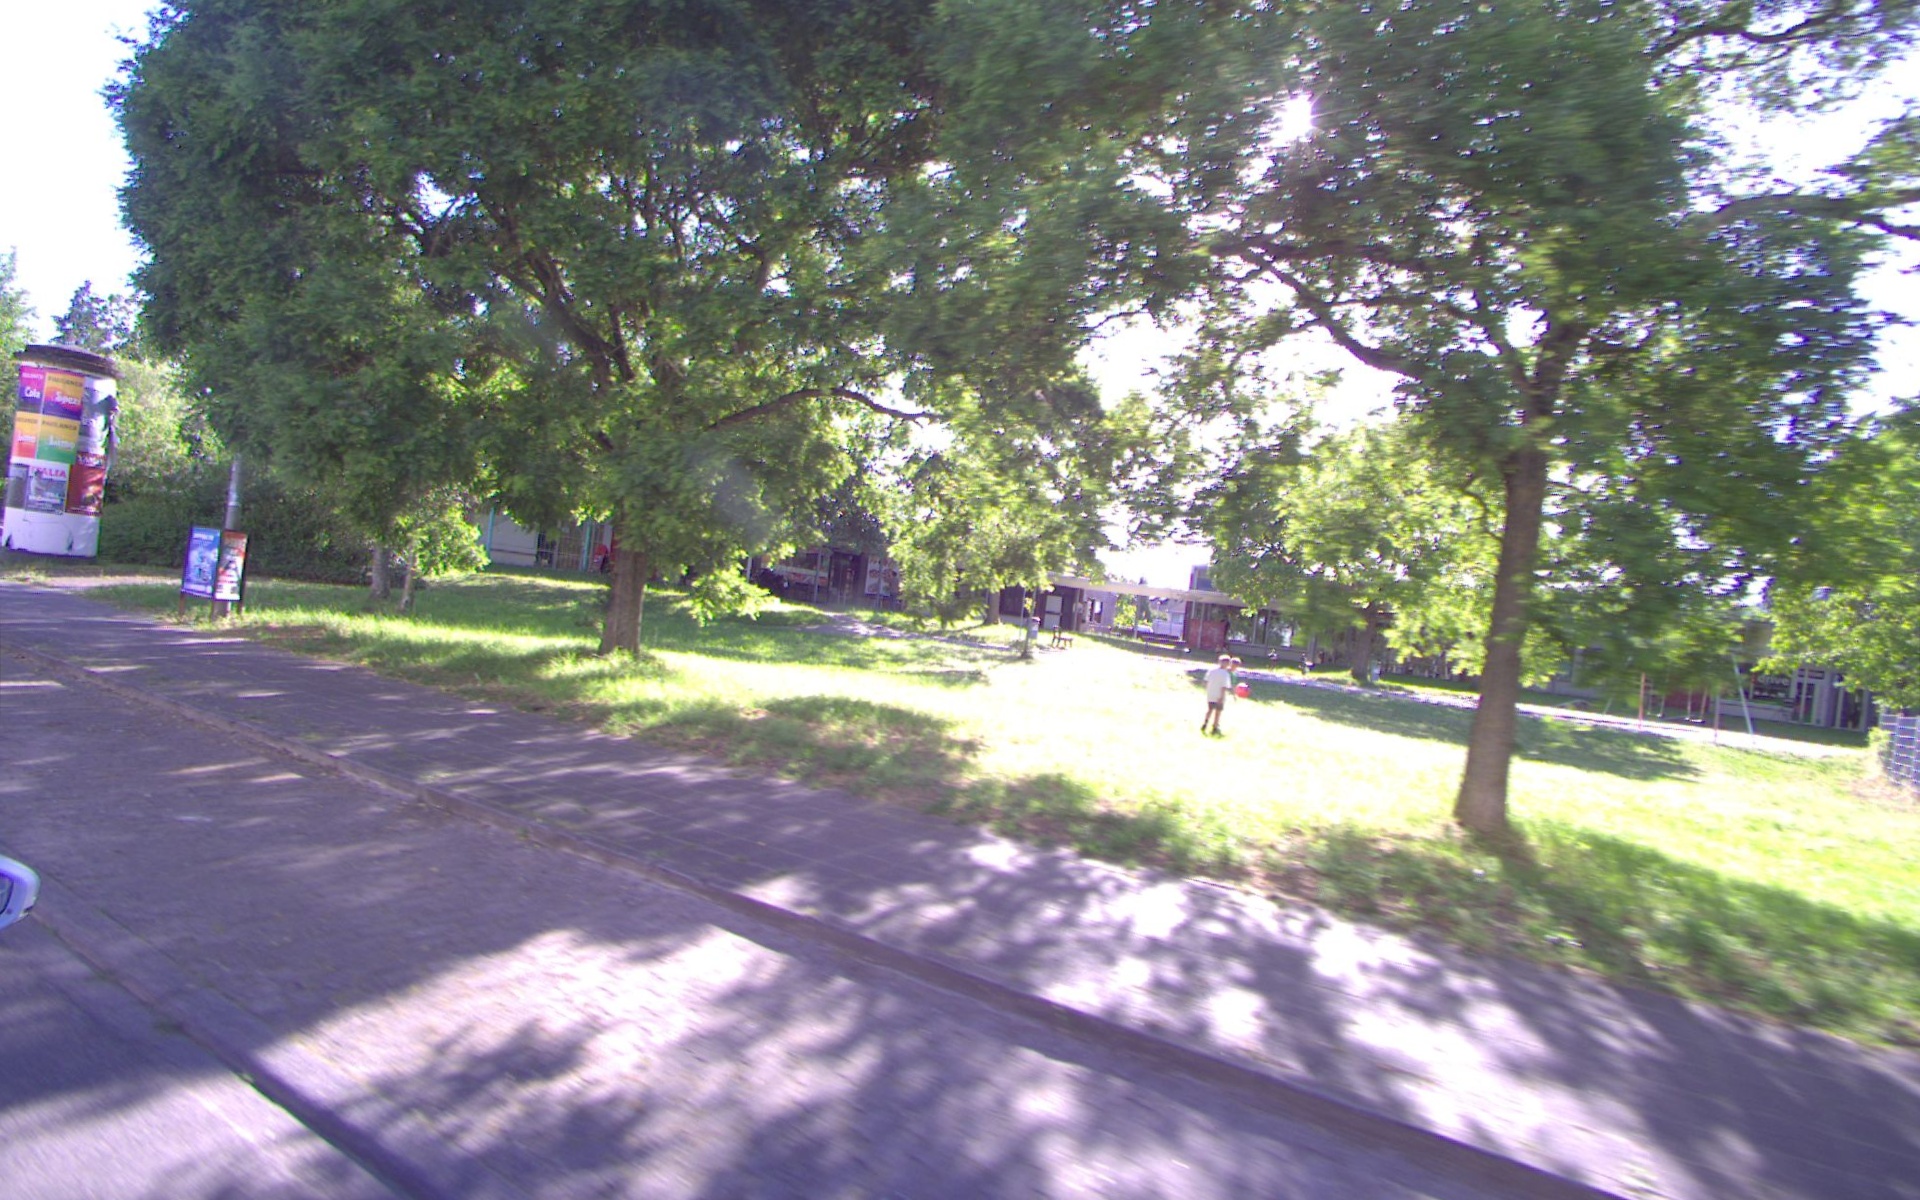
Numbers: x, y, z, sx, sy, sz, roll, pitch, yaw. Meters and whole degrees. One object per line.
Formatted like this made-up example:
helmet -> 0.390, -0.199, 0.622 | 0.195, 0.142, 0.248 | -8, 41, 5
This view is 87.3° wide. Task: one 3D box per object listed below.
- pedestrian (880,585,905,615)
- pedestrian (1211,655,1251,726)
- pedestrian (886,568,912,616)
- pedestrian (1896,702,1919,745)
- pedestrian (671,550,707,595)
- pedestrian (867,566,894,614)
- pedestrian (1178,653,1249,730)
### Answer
pedestrian -> -3.191, 0.002, 47.534 | 0.830, 1.288, 0.763 | 6, 0, -26
pedestrian -> 4.587, 1.521, 17.050 | 0.498, 1.102, 0.634 | 7, 1, 11
pedestrian -> -2.704, -0.353, 44.539 | 0.825, 2.039, 0.636 | 6, 1, 6
pedestrian -> 41.921, 5.456, 44.448 | 0.535, 1.818, 0.556 | 7, 1, 32
pedestrian -> -10.444, -1.052, 38.711 | 0.849, 1.595, 1.079 | 6, 0, -36
pedestrian -> -3.529, -0.443, 44.704 | 0.841, 2.039, 0.636 | 6, 1, 17
pedestrian -> 3.984, 1.440, 15.800 | 0.718, 1.102, 0.695 | 6, 1, -43
